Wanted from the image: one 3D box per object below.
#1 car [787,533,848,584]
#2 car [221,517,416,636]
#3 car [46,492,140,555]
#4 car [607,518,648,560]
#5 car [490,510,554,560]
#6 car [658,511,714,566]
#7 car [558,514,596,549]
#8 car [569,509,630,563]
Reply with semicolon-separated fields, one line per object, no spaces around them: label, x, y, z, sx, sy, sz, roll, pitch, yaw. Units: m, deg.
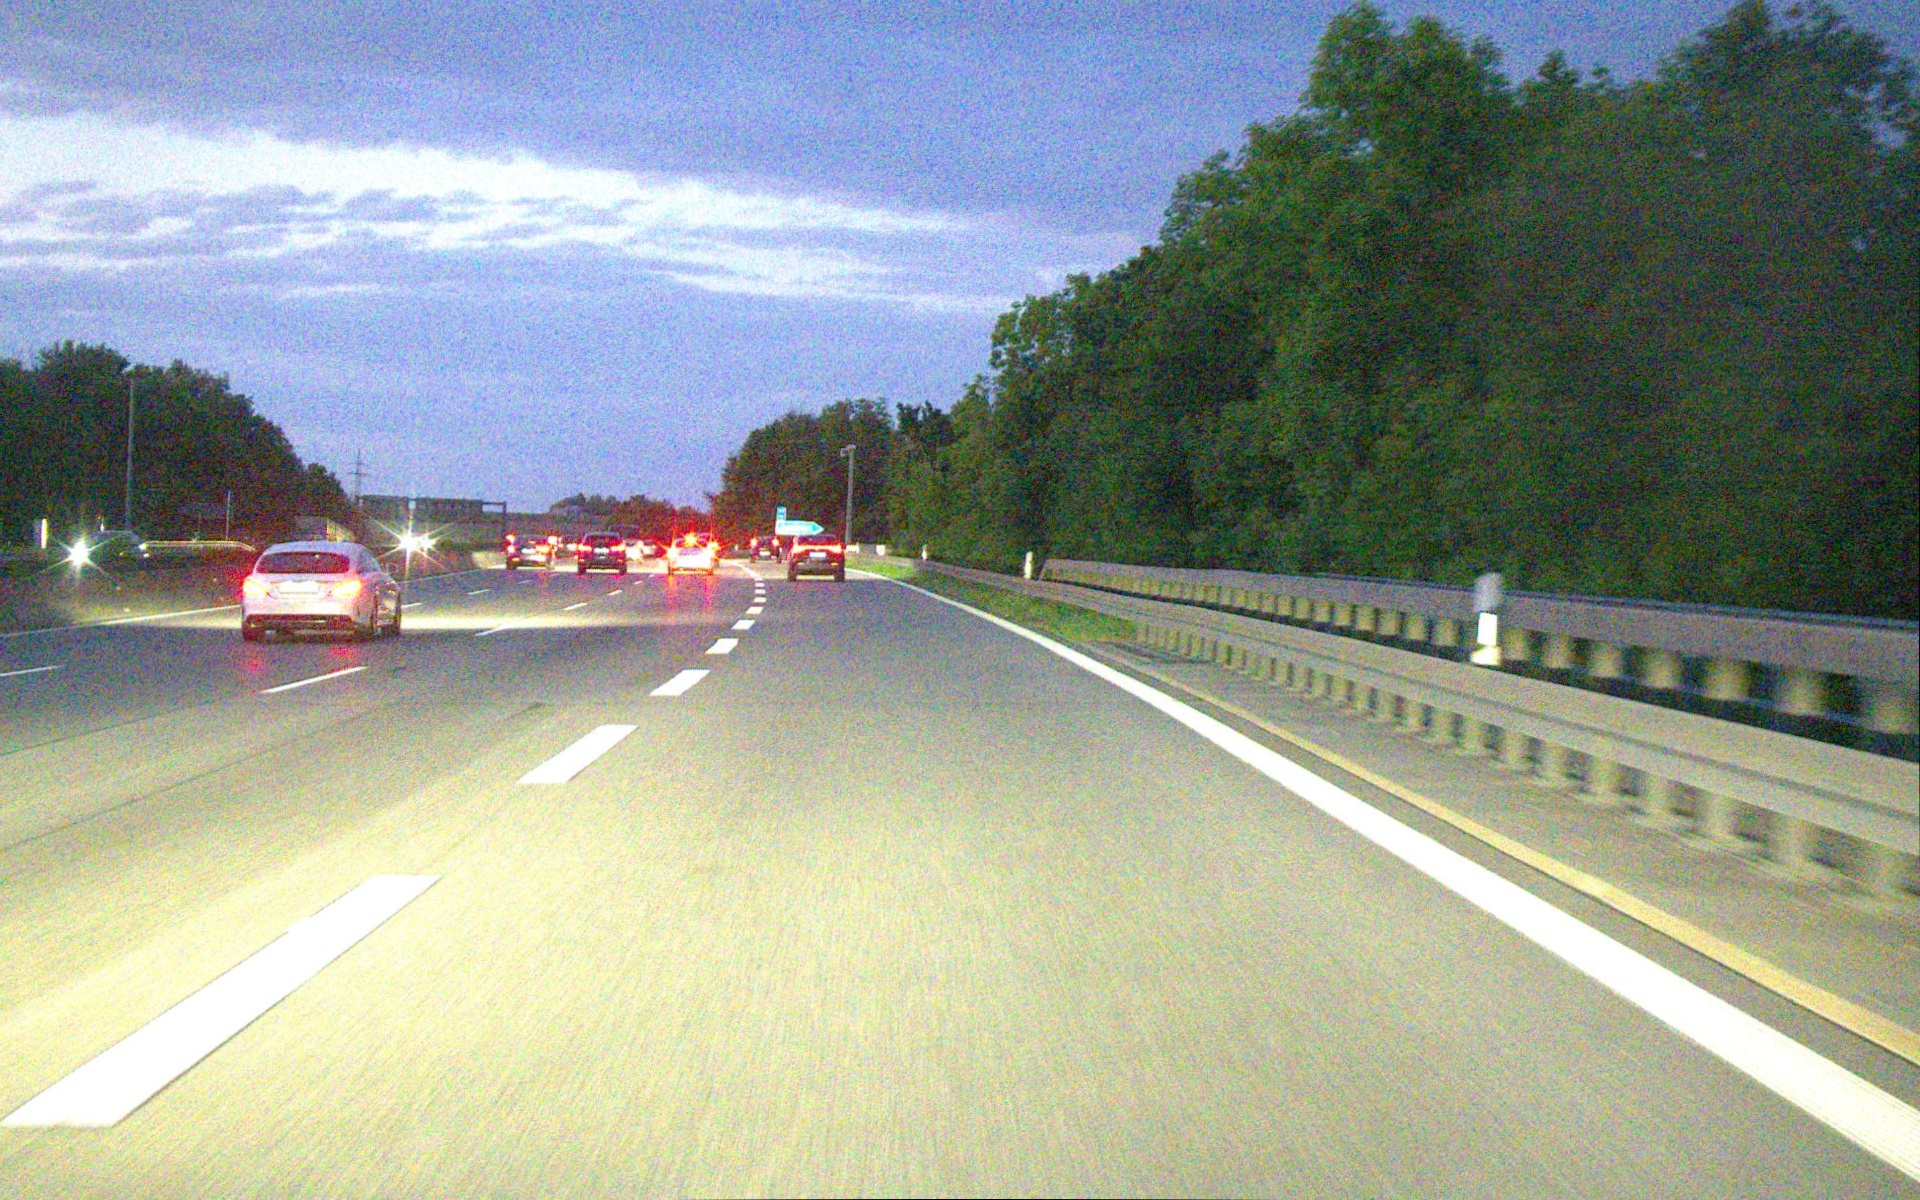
car;-4.818;-1.404;115.665;1.993;1.653;4.315;0;1;-3
car;-9.275;-0.372;50.036;1.993;1.637;4.555;0;1;0
car;-28.251;-2.472;112.102;1.993;2.007;4.495;1;1;-1
car;-16.598;-3.035;171.628;1.993;2.007;4.001;1;1;-6
car;-17.853;-2.666;140.237;2.104;2.007;4.000;0;1;0
car;-10.290;-2.310;129.206;1.993;2.007;4.001;1;1;-4
car;-24.101;-4.322;216.391;1.993;2.006;4.001;5;1;-3
car;-13.693;-2.420;130.596;2.071;2.007;4.001;0;1;-3
